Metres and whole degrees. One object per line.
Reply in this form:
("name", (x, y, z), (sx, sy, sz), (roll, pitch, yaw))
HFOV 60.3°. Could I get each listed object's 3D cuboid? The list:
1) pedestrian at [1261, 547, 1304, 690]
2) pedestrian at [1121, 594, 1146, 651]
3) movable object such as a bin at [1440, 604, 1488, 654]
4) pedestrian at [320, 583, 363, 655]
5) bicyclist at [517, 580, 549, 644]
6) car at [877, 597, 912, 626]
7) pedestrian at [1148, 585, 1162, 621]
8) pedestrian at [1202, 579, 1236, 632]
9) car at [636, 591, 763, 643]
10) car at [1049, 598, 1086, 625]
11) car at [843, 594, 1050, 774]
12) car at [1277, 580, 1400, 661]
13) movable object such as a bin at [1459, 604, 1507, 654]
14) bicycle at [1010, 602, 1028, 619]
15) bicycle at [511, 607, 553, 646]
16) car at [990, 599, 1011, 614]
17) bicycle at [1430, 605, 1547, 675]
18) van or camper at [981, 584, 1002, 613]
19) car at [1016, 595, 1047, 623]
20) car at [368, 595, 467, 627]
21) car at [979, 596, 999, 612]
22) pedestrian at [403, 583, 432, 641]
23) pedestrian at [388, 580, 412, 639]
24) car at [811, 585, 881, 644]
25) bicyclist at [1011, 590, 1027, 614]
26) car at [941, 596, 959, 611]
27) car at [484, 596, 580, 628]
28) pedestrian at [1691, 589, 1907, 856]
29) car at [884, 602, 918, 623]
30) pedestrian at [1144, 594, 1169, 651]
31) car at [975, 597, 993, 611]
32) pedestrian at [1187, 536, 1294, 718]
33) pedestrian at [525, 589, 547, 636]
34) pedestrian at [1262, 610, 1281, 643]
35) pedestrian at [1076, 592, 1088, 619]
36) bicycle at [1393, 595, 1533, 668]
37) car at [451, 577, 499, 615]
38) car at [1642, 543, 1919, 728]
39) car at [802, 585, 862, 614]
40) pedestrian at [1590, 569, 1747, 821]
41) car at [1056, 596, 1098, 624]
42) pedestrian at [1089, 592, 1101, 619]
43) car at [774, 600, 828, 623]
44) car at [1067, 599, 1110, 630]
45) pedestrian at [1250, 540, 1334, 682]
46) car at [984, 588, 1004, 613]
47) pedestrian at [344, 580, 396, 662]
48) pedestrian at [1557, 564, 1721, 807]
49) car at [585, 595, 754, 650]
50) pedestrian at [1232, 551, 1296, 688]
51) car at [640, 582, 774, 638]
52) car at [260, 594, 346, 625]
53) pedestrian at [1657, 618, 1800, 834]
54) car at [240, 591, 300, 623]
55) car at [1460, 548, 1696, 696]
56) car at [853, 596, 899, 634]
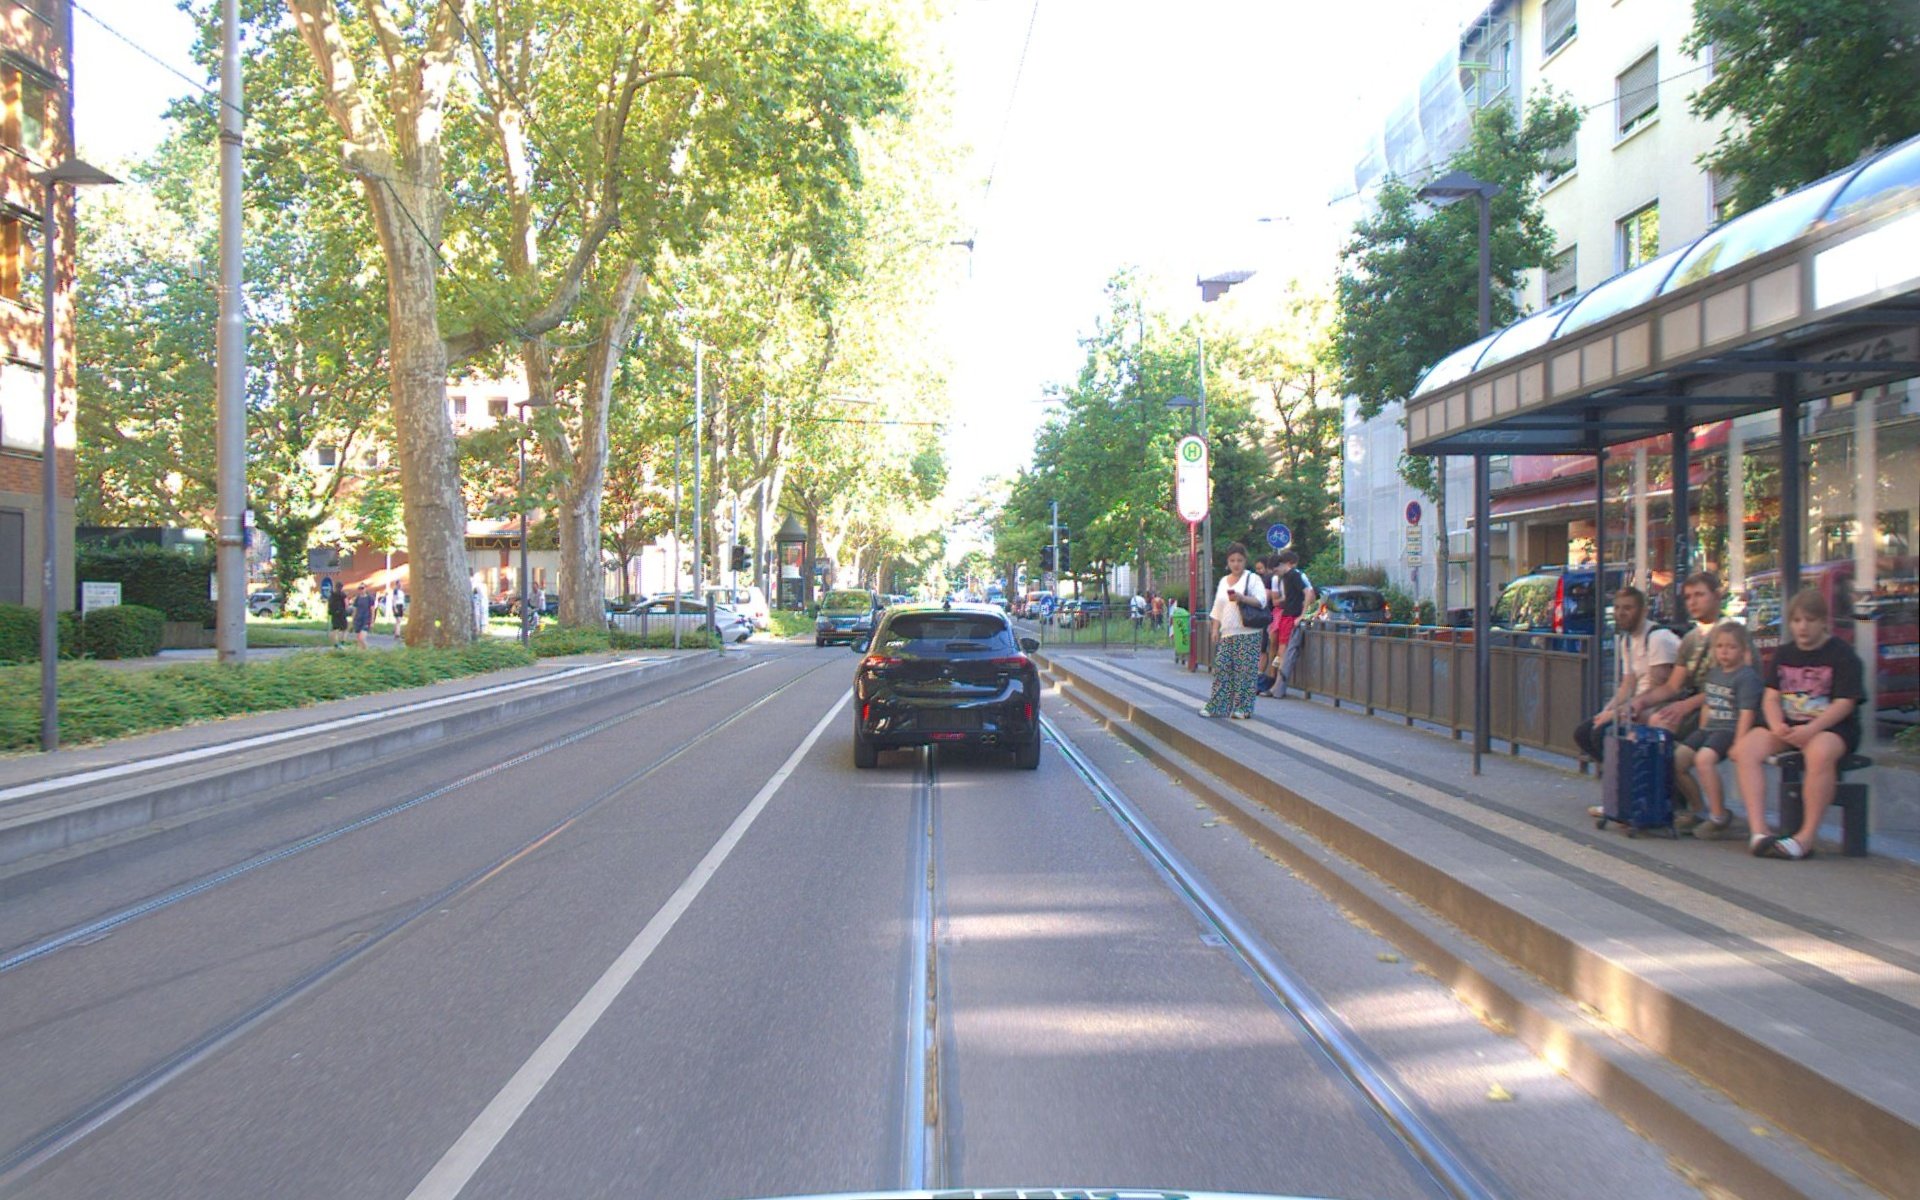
("pedestrian", (4.162, 0.236, 21.317), (0.482, 1.801, 0.704), (1, -1, 14))
("pedestrian", (5.689, 0.738, 54.129), (0.710, 1.824, 0.854), (-2, 0, 10))
("movable object such as a bin", (11.674, 0.661, 38.343), (0.863, 1.130, 0.696), (-1, 0, -3))
("pedestrian", (-14.862, 0.456, 39.756), (0.695, 1.702, 0.779), (1, -1, -1))
("bicyclist", (-12.294, 0.356, 47.625), (0.685, 1.819, 0.839), (1, -1, 0))
("car", (-3.580, 0.628, 90.555), (1.739, 1.486, 4.204), (1, 0, 0))
("pedestrian", (9.958, 0.146, 84.465), (0.586, 1.824, 0.728), (1, -1, -2))
("pedestrian", (9.469, 0.189, 60.502), (0.854, 1.918, 0.993), (1, -1, -19))
("car", (-8.860, 0.573, 56.572), (4.056, 1.675, 1.901), (1, 0, -3))
("car", (6.343, 0.650, 97.865), (1.845, 1.492, 4.594), (-2, 0, 0))
("car", (-0.139, 0.718, 15.941), (1.727, 1.486, 3.949), (1, 0, -1))
("car", (8.400, 0.418, 37.047), (1.726, 1.650, 4.442), (-2, 0, 0))
("movable object such as a bin", (12.272, 0.674, 38.842), (0.863, 1.130, 0.696), (-1, 0, -3))
("bicycle", (3.766, 0.670, 106.391), (0.948, 1.016, 2.582), (1, 0, -2))
("bicycle", (-12.306, 0.762, 47.620), (0.700, 1.082, 1.839), (1, 0, 0))
("car", (4.109, 0.639, 168.070), (1.846, 1.459, 4.529), (-2, 0, -1))
("bicycle", (9.740, 0.738, 30.575), (0.675, 1.231, 2.190), (-1, 0, -29))
("van or camper", (3.673, -0.211, 191.930), (2.208, 3.272, 5.529), (-1, 0, -1))
("car", (5.090, 0.664, 117.900), (1.846, 1.883, 4.966), (-2, 0, -1))
("car", (-27.103, 0.548, 82.740), (4.385, 1.475, 1.820), (1, 0, -9))
("car", (3.448, 0.441, 199.120), (2.208, 1.873, 5.529), (-1, 0, -1))
("pedestrian", (-15.792, 0.346, 48.120), (0.686, 1.688, 0.557), (1, -1, -28))
("pedestrian", (-16.622, 0.276, 49.099), (0.526, 1.735, 0.586), (1, -1, -32))
("car", (-3.578, 0.459, 52.783), (1.953, 1.746, 5.141), (1, 0, -1))
("bicyclist", (3.771, 0.150, 106.376), (0.939, 1.525, 1.093), (1, 0, -3))
("car", (-1.348, 0.455, 222.280), (2.208, 1.873, 5.529), (-1, 0, -1))
("car", (-21.593, 0.624, 83.650), (4.440, 1.515, 1.857), (1, 0, -7))
("pedestrian", (4.030, 0.567, 7.973), (0.666, 1.226, 0.647), (1, -1, -12))
("car", (-4.535, 0.950, 126.252), (1.636, 1.469, 3.453), (1, 0, -20))
("pedestrian", (6.429, 0.729, 54.198), (0.710, 1.824, 0.969), (-2, 0, 10))
("car", (3.144, 0.523, 219.932), (2.208, 1.873, 5.529), (-1, 0, -1))
("pedestrian", (2.771, 0.260, 16.362), (0.633, 1.742, 0.826), (1, -1, -35))
("pedestrian", (-17.032, 0.500, 66.430), (0.630, 1.841, 0.752), (1, -1, 4))
("pedestrian", (11.237, 0.954, 59.716), (0.660, 1.138, 0.660), (1, 0, 10))
("pedestrian", (7.968, 0.357, 107.897), (0.711, 1.722, 0.957), (1, 0, 1))
("bicycle", (8.967, 0.554, 29.540), (2.159, 1.231, 1.029), (-2, 0, -1))
("car", (-26.777, -0.202, 91.416), (1.957, 2.038, 4.908), (1, 0, -10))
("car", (9.297, 0.363, 18.262), (1.654, 1.786, 4.172), (1, 0, -2))
("car", (-10.745, -0.048, 138.701), (4.934, 2.299, 2.084), (1, 0, -5))
("pedestrian", (3.850, 0.506, 9.007), (0.574, 1.328, 0.525), (1, -1, -12))
("car", (6.240, 0.536, 88.674), (1.846, 1.392, 4.106), (-2, 0, -1))
("pedestrian", (8.835, 0.378, 107.893), (0.711, 1.739, 0.856), (1, -1, 1))
("car", (-10.480, 0.763, 108.909), (3.349, 1.490, 1.697), (1, 0, 1))
("car", (6.322, 0.713, 81.839), (1.639, 1.437, 3.841), (-2, 0, -3))
("pedestrian", (4.117, 0.136, 20.555), (0.828, 1.730, 0.692), (1, -1, -8))
("car", (3.818, 0.046, 185.367), (2.043, 2.820, 4.696), (-1, 0, -1))
("pedestrian", (-12.627, 0.447, 35.438), (0.723, 1.701, 0.968), (1, 0, 0))
("pedestrian", (3.893, 0.482, 9.503), (0.706, 1.349, 0.492), (1, -1, -12))
("car", (-8.407, 0.647, 48.186), (4.671, 1.486, 1.953), (1, 0, -5))
("pedestrian", (4.023, 0.257, 21.921), (0.674, 1.786, 0.579), (1, -1, -8))
("car", (-8.960, 0.364, 58.782), (4.479, 1.866, 1.937), (1, 0, -3))
("car", (-32.653, 0.490, 82.263), (3.636, 1.475, 1.686), (1, 0, -6))
("pedestrian", (3.951, 0.634, 8.522), (0.511, 1.074, 0.425), (1, -1, -12))
("car", (-37.583, 0.378, 90.180), (1.908, 1.646, 4.475), (1, 0, -8))
("car", (9.187, 0.293, 24.977), (1.953, 1.929, 4.194), (-3, 0, 1))
("car", (-3.884, 0.681, 76.999), (1.869, 1.666, 4.320), (-1, 0, 0))
